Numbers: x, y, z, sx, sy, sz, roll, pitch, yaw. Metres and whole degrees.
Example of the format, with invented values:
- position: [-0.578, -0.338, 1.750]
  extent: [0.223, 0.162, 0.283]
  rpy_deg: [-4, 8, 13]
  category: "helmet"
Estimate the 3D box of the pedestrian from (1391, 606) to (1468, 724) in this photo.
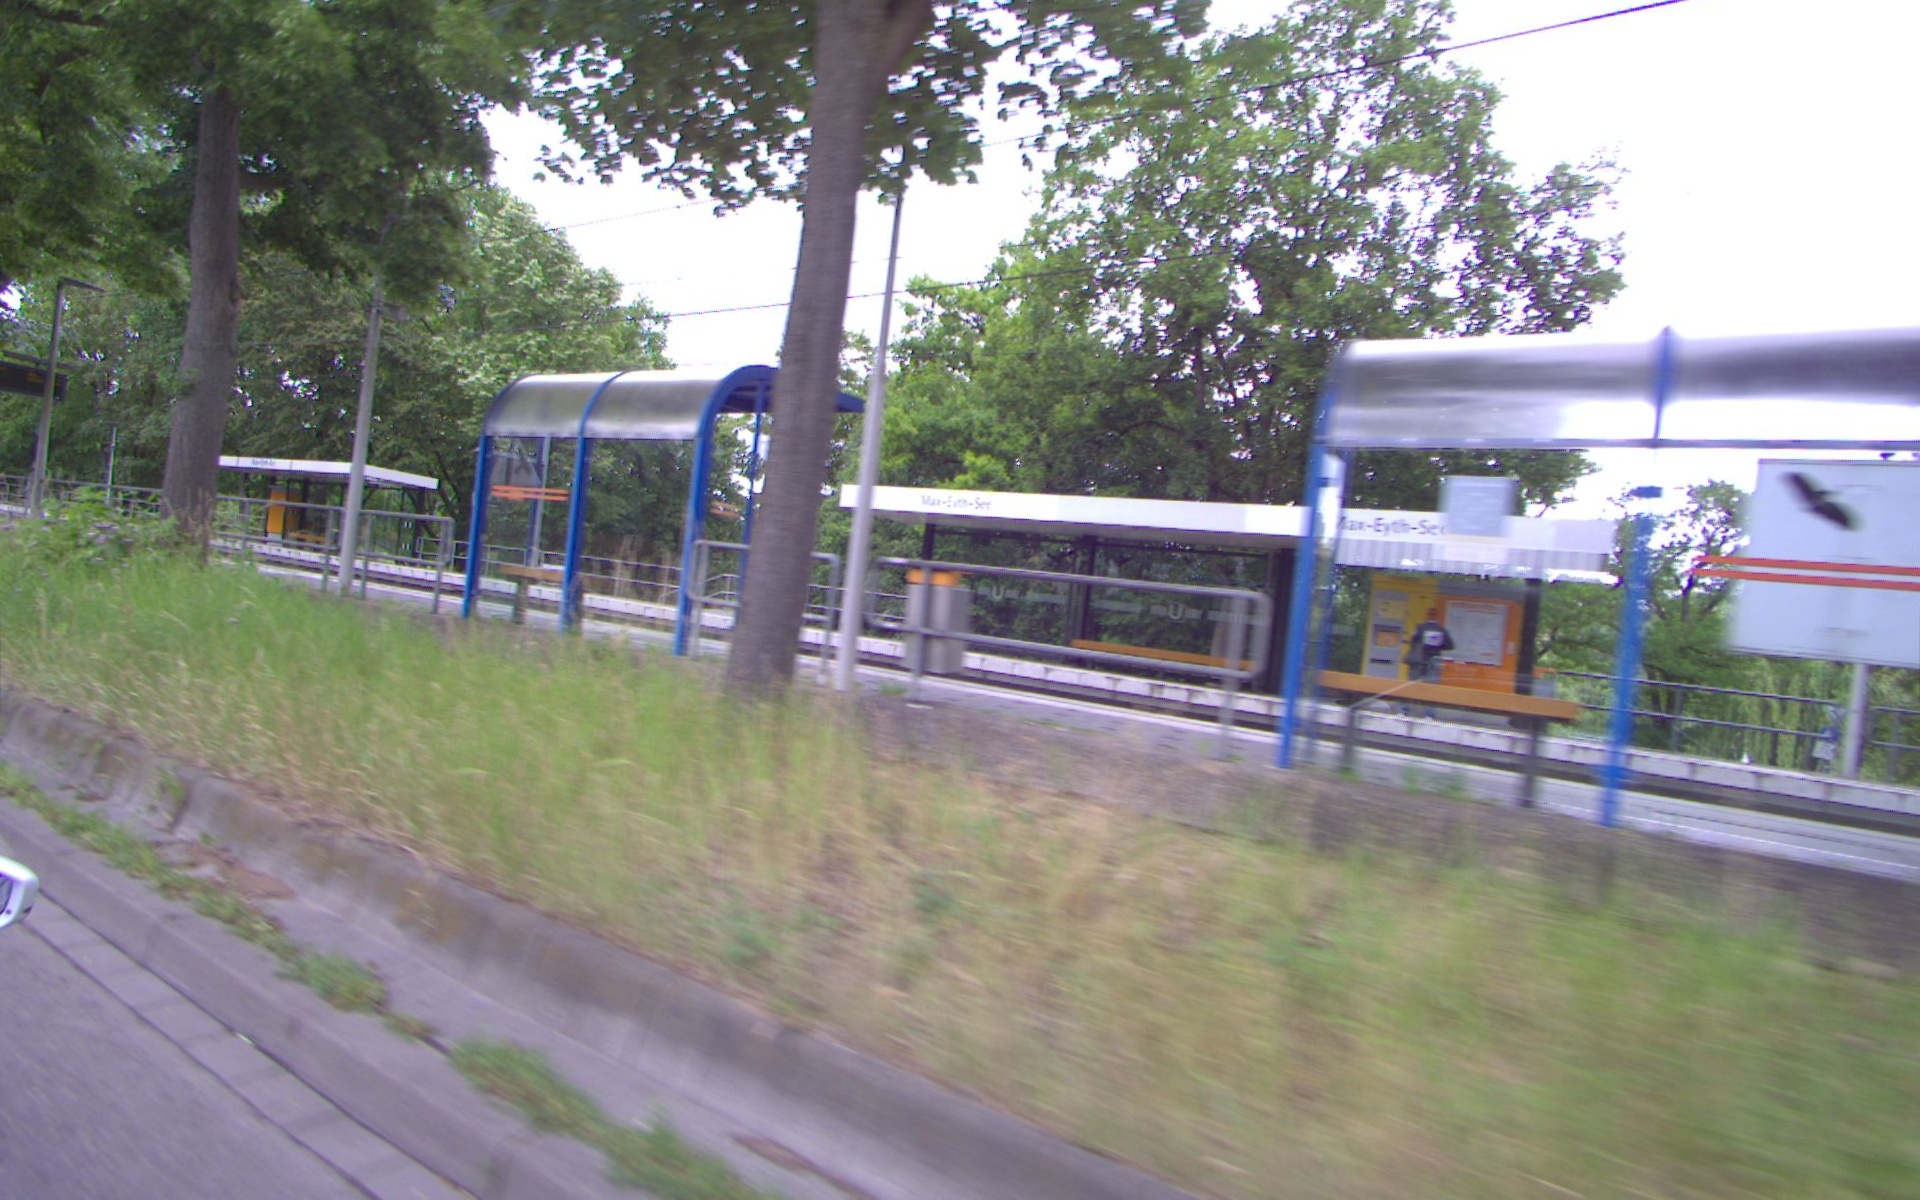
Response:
- position: [6.510, 0.903, 13.941]
  extent: [0.712, 1.528, 0.719]
  rpy_deg: [6, -2, 35]
  category: "pedestrian"
